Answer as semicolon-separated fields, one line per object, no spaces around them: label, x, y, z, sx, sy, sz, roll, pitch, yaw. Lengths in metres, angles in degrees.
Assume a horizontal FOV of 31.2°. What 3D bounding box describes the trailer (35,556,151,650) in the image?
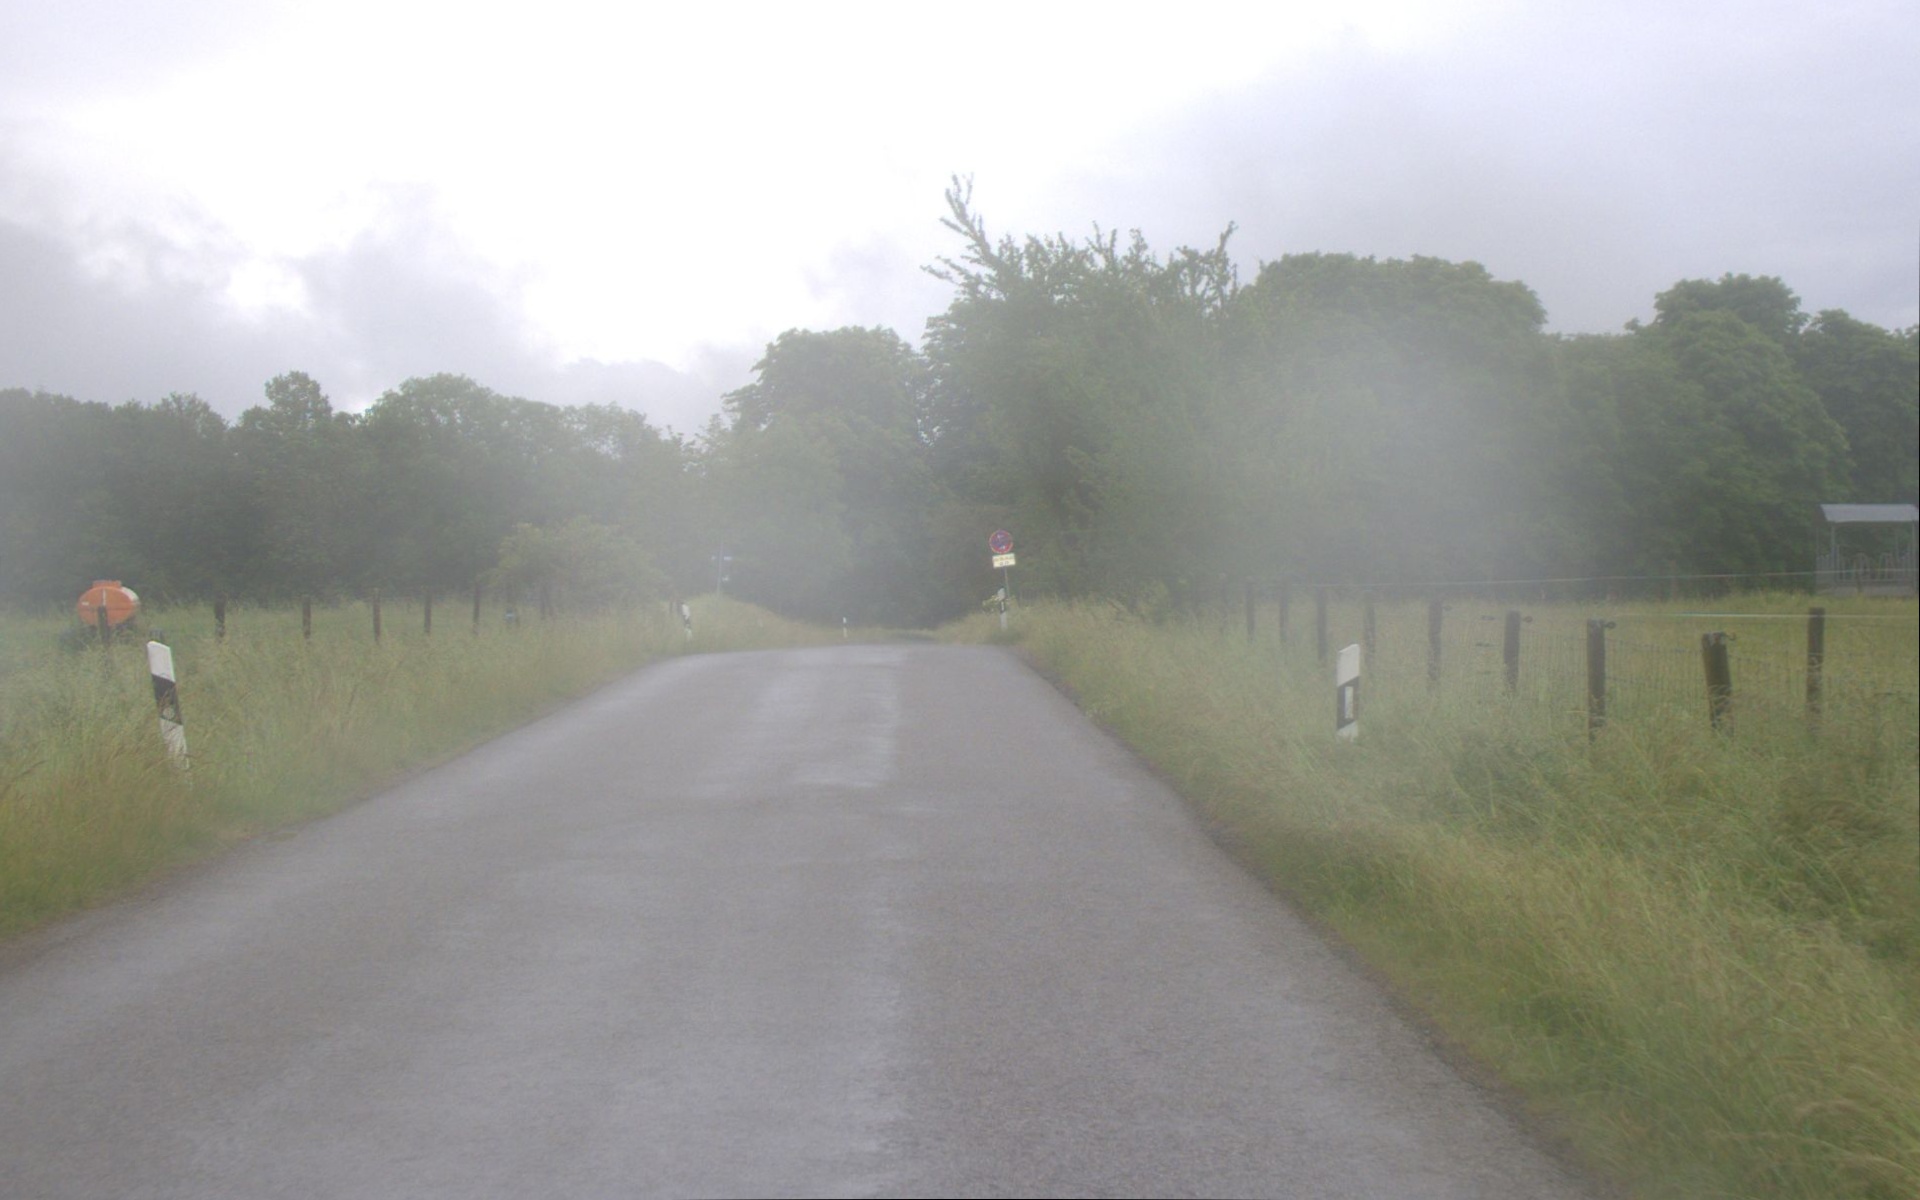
trailer;-14.894;0.028;59.165;1.751;1.499;3.091;-1;1;-11
